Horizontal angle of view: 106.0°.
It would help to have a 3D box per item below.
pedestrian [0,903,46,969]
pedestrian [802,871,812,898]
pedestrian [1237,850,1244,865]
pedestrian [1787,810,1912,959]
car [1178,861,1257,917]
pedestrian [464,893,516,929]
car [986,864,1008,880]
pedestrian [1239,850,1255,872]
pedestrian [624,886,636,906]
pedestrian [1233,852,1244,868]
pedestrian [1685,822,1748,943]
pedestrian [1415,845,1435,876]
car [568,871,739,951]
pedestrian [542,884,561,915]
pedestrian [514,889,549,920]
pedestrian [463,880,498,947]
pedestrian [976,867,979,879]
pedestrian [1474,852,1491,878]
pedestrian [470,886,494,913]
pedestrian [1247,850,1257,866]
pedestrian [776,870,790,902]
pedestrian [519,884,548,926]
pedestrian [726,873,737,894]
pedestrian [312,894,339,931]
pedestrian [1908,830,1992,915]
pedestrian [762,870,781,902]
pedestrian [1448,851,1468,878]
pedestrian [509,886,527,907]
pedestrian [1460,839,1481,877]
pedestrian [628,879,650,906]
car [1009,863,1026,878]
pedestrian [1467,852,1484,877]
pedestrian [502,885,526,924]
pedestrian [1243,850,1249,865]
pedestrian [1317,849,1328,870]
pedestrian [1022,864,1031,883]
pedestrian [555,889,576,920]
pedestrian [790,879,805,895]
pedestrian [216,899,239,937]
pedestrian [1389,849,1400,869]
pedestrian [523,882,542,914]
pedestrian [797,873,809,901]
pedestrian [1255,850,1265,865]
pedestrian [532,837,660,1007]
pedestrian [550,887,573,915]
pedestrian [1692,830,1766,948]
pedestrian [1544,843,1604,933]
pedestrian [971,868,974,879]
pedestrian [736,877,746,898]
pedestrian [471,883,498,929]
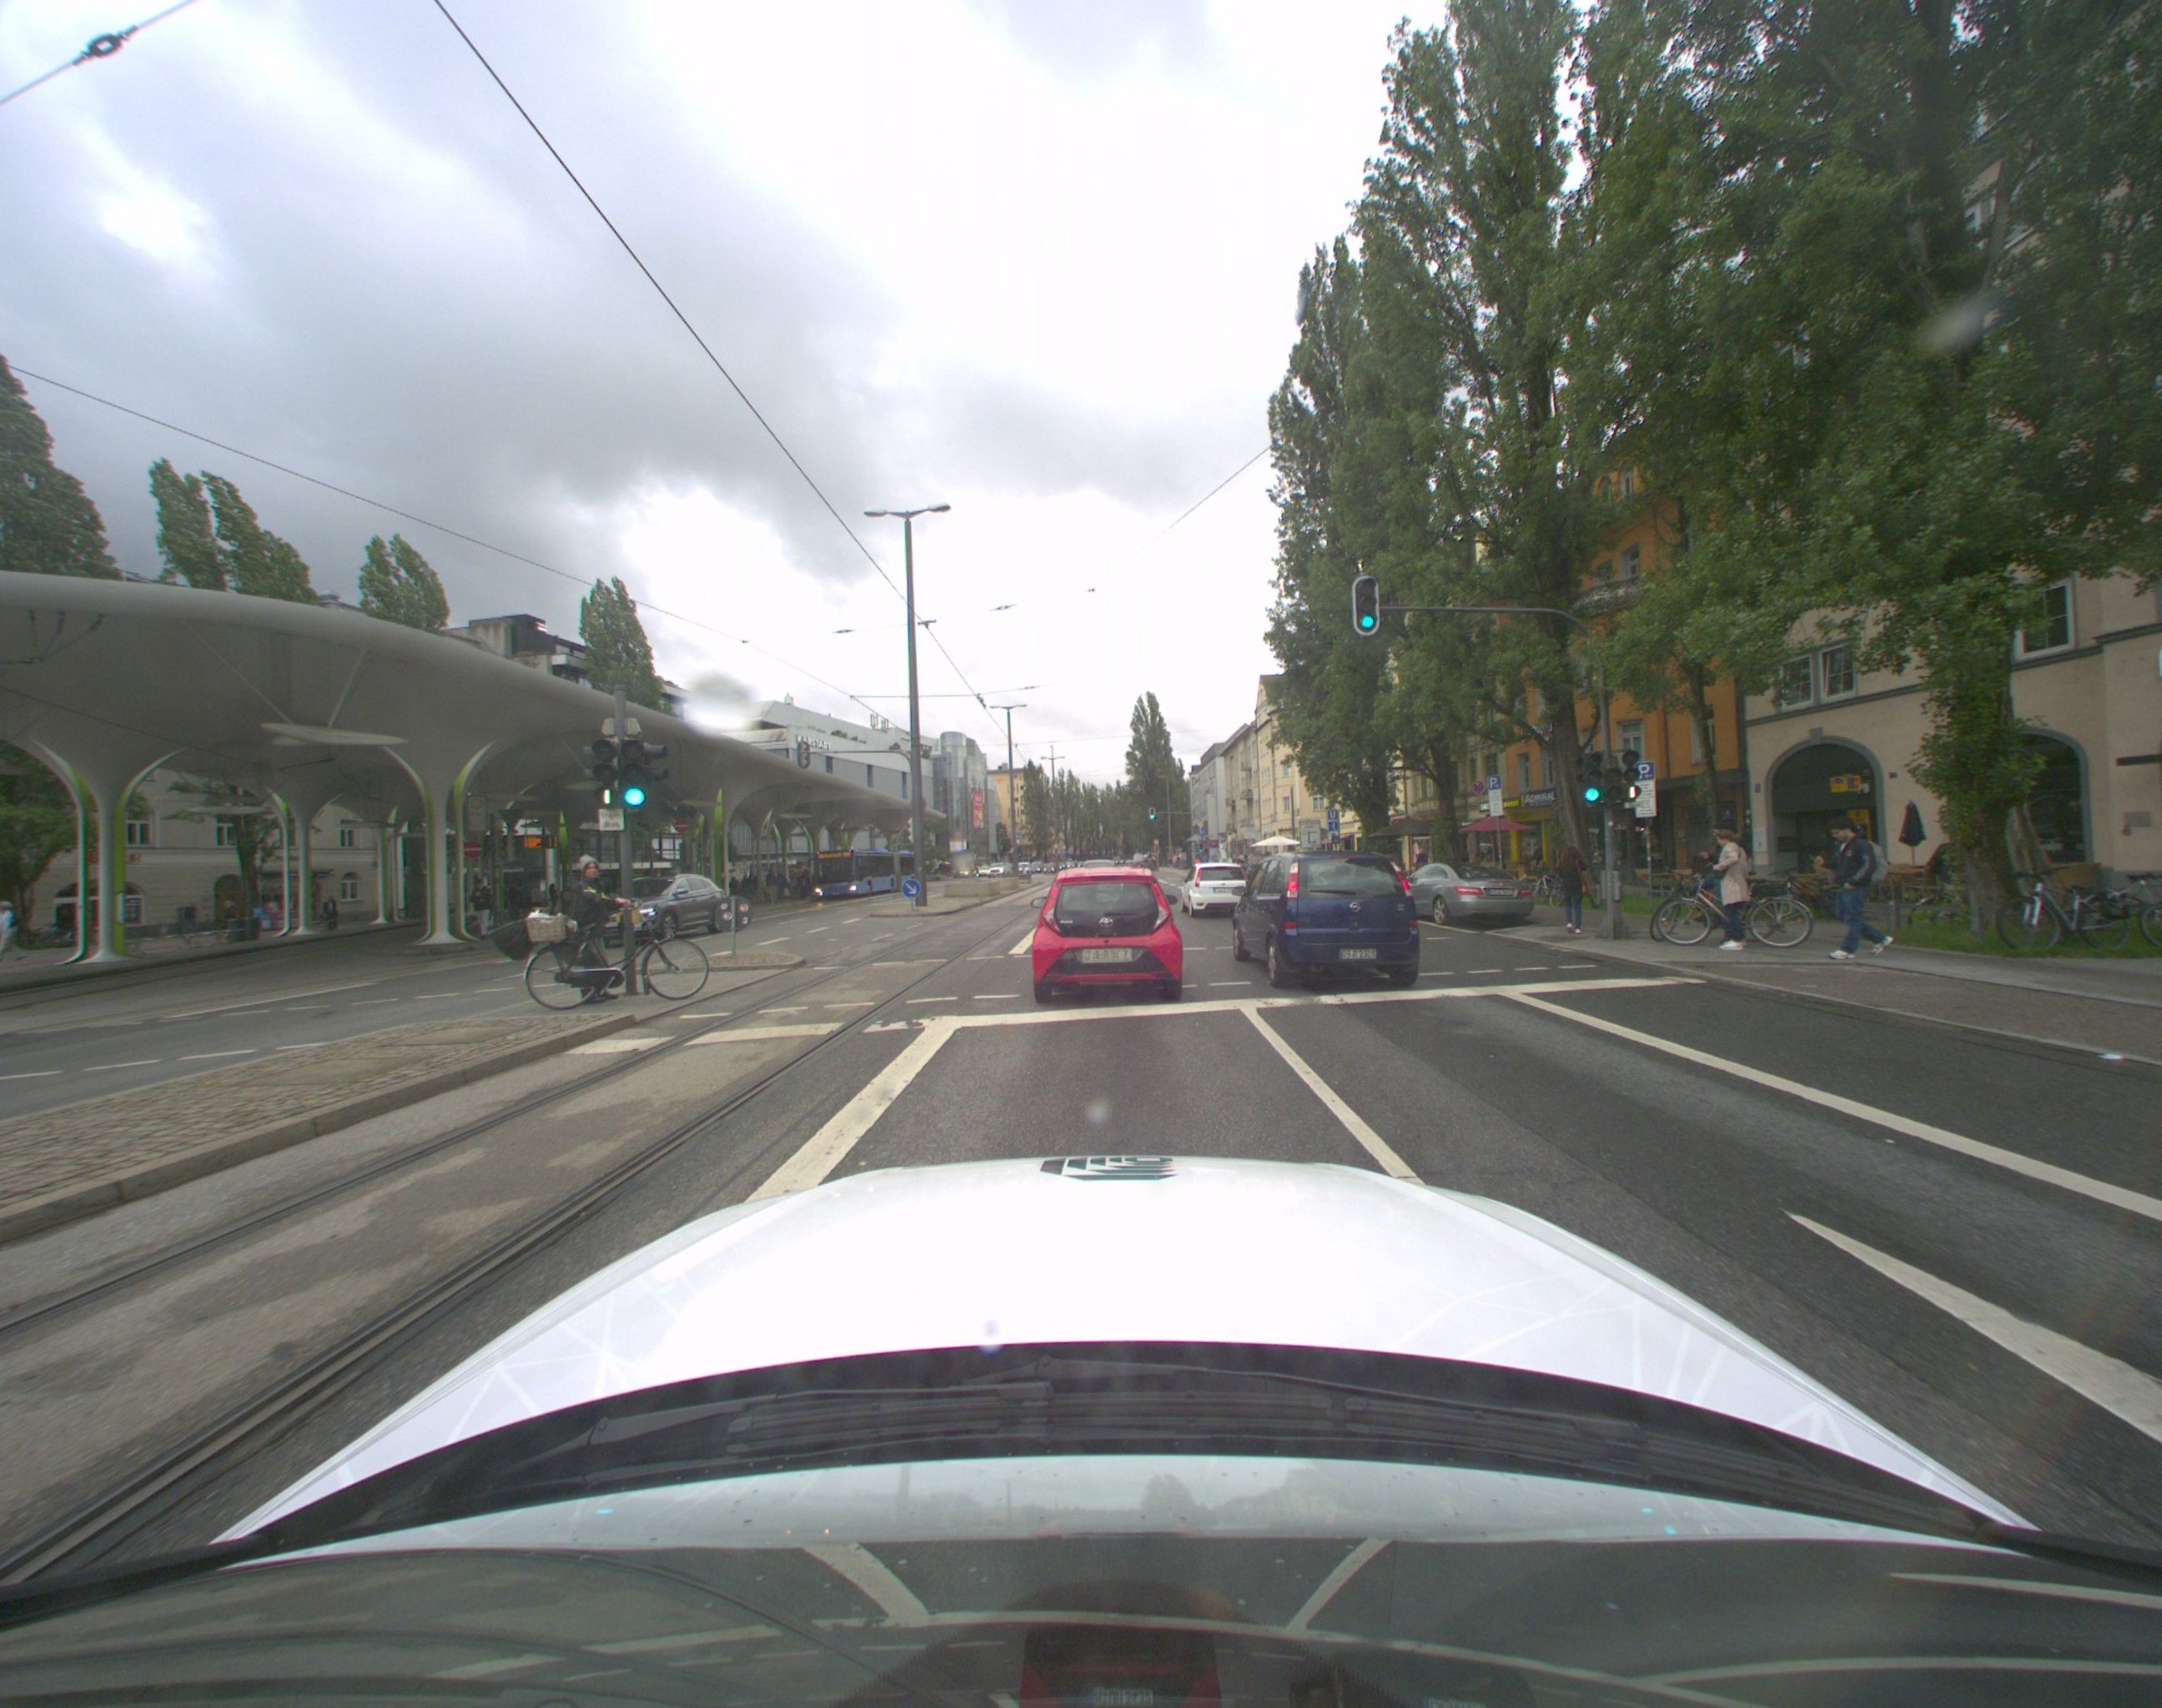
[{"bbox_3d":[-34.739,2.655,26.461,0.993,2.014,1.032,-3,-1,17],"label":"pedestrian"},{"bbox_3d":[-16.256,1.818,48.349,0.391,1.605,0.390,-2,-1,-4],"label":"pedestrian"},{"bbox_3d":[18.035,0.439,92.180,0.560,1.670,0.565,-2,3,24],"label":"pedestrian"},{"bbox_3d":[9.777,0.370,10.382,0.879,1.801,0.754,-2,0,-8],"label":"pedestrian"},{"bbox_3d":[3.751,0.921,22.852,1.693,1.426,3.498,-1,0,1],"label":"car"},{"bbox_3d":[-21.672,2.077,29.881,0.803,1.230,1.277,-3,-1,20],"label":"pedestrian"},{"bbox_3d":[-10.926,2.270,106.501,2.168,1.887,6.155,-3,0,0],"label":"car"},{"bbox_3d":[13.448,0.591,65.957,0.882,1.743,0.854,-2,-1,-15],"label":"pedestrian"},{"bbox_3d":[-29.133,2.696,52.588,0.578,1.265,0.513,-2,-1,-39],"label":"pedestrian"},{"bbox_3d":[15.703,0.593,81.210,0.730,1.540,0.887,-2,-1,-13],"label":"pedestrian"},{"bbox_3d":[9.736,0.419,12.503,0.692,1.780,0.655,-2,0,35],"label":"pedestrian"},{"bbox_3d":[18.501,0.357,43.838,0.707,1.633,0.786,-2,-1,2],"label":"pedestrian"},{"bbox_3d":[-10.897,1.374,21.214,1.857,1.638,4.677,-4,0,0],"label":"car"},{"bbox_3d":[-27.294,2.344,41.998,0.664,1.564,0.637,-2,-1,-24],"label":"pedestrian"},{"bbox_3d":[-25.612,2.330,37.967,0.958,1.370,0.843,-2,-1,8],"label":"pedestrian"},{"bbox_3d":[-17.349,1.699,23.548,0.668,1.839,0.803,-2,-1,-29],"label":"pedestrian"},{"bbox_3d":[-15.045,2.788,118.452,0.444,1.760,0.355,-2,-1,-5],"label":"pedestrian"},{"bbox_3d":[20.945,0.568,42.470,0.581,1.280,0.583,-2,-1,1],"label":"pedestrian"},{"bbox_3d":[-42.246,3.206,57.419,0.921,1.773,1.004,-3,-1,21],"label":"pedestrian"},{"bbox_3d":[19.400,0.428,92.322,0.648,1.705,0.727,-4,3,-28],"label":"pedestrian"},{"bbox_3d":[-16.841,1.791,46.047,0.566,1.743,0.752,-3,-1,-15],"label":"pedestrian"},{"bbox_3d":[-23.408,2.185,34.834,0.809,1.728,0.669,-2,-1,-15],"label":"pedestrian"},{"bbox_3d":[-27.076,2.296,63.134,0.572,1.610,0.546,-2,-1,-8],"label":"pedestrian"},{"bbox_3d":[-35.319,2.735,38.068,0.600,1.647,0.640,-2,-1,-6],"label":"pedestrian"},{"bbox_3d":[16.906,0.356,15.871,0.838,1.602,0.828,-3,-1,28],"label":"pedestrian"},{"bbox_3d":[-16.901,1.733,44.446,0.713,1.722,0.879,-2,-1,-9],"label":"pedestrian"},{"bbox_3d":[17.770,0.486,38.384,0.598,1.222,0.666,-2,-1,2],"label":"pedestrian"},{"bbox_3d":[-45.503,3.419,65.814,0.775,1.661,0.776,-2,-1,11],"label":"pedestrian"},{"bbox_3d":[18.371,0.199,38.435,0.598,1.739,0.666,-2,-1,2],"label":"pedestrian"},{"bbox_3d":[-29.611,2.588,54.565,0.867,1.730,0.896,-3,-1,3],"label":"pedestrian"},{"bbox_3d":[-8.488,2.240,109.042,1.781,1.855,4.216,-3,-1,-1],"label":"car"},{"bbox_3d":[20.988,0.574,43.309,0.581,1.280,0.583,-2,-1,1],"label":"pedestrian"},{"bbox_3d":[-23.138,2.059,33.225,0.593,1.545,0.634,-2,-1,-16],"label":"pedestrian"},{"bbox_3d":[18.736,0.432,92.307,0.556,1.609,0.570,-3,3,14],"label":"pedestrian"},{"bbox_3d":[18.618,0.440,62.831,0.612,1.633,0.678,-2,-1,1],"label":"pedestrian"},{"bbox_3d":[-4.708,1.655,70.393,0.466,1.618,0.515,-2,-1,-45],"label":"pedestrian"},{"bbox_3d":[-27.656,2.711,43.694,0.643,1.618,0.701,-3,-1,5],"label":"pedestrian"},{"bbox_3d":[-23.256,2.705,66.903,0.843,1.317,0.869,-1,-1,-42],"label":"pedestrian"},{"bbox_3d":[-42.633,3.190,40.677,0.552,1.814,0.557,-3,-1,13],"label":"pedestrian"},{"bbox_3d":[21.377,0.340,55.557,0.493,1.332,0.552,-2,-1,2],"label":"pedestrian"},{"bbox_3d":[-29.346,2.358,43.601,0.691,1.696,0.652,-3,-1,42],"label":"pedestrian"},{"bbox_3d":[-17.191,2.044,50.348,0.573,1.734,0.502,-2,-1,-25],"label":"pedestrian"},{"bbox_3d":[20.823,0.432,94.591,0.930,1.755,1.066,-3,-1,2],"label":"pedestrian"},{"bbox_3d":[-5.494,0.744,9.257,0.851,1.812,0.902,-2,-1,19],"label":"pedestrian"},{"bbox_3d":[-29.235,2.635,45.850,0.742,1.508,0.894,-3,-1,-6],"label":"pedestrian"},{"bbox_3d":[9.436,0.484,11.852,0.760,1.638,0.693,-2,0,-42],"label":"pedestrian"},{"bbox_3d":[8.922,0.596,14.734,0.753,1.562,0.767,-2,0,43],"label":"pedestrian"},{"bbox_3d":[-15.819,2.799,118.383,0.353,1.567,0.269,-3,-1,-10],"label":"pedestrian"},{"bbox_3d":[-26.970,2.625,64.569,0.572,1.610,0.546,-2,-1,-8],"label":"pedestrian"},{"bbox_3d":[-25.517,2.218,34.852,0.714,1.873,0.871,-2,-1,-26],"label":"pedestrian"}]
